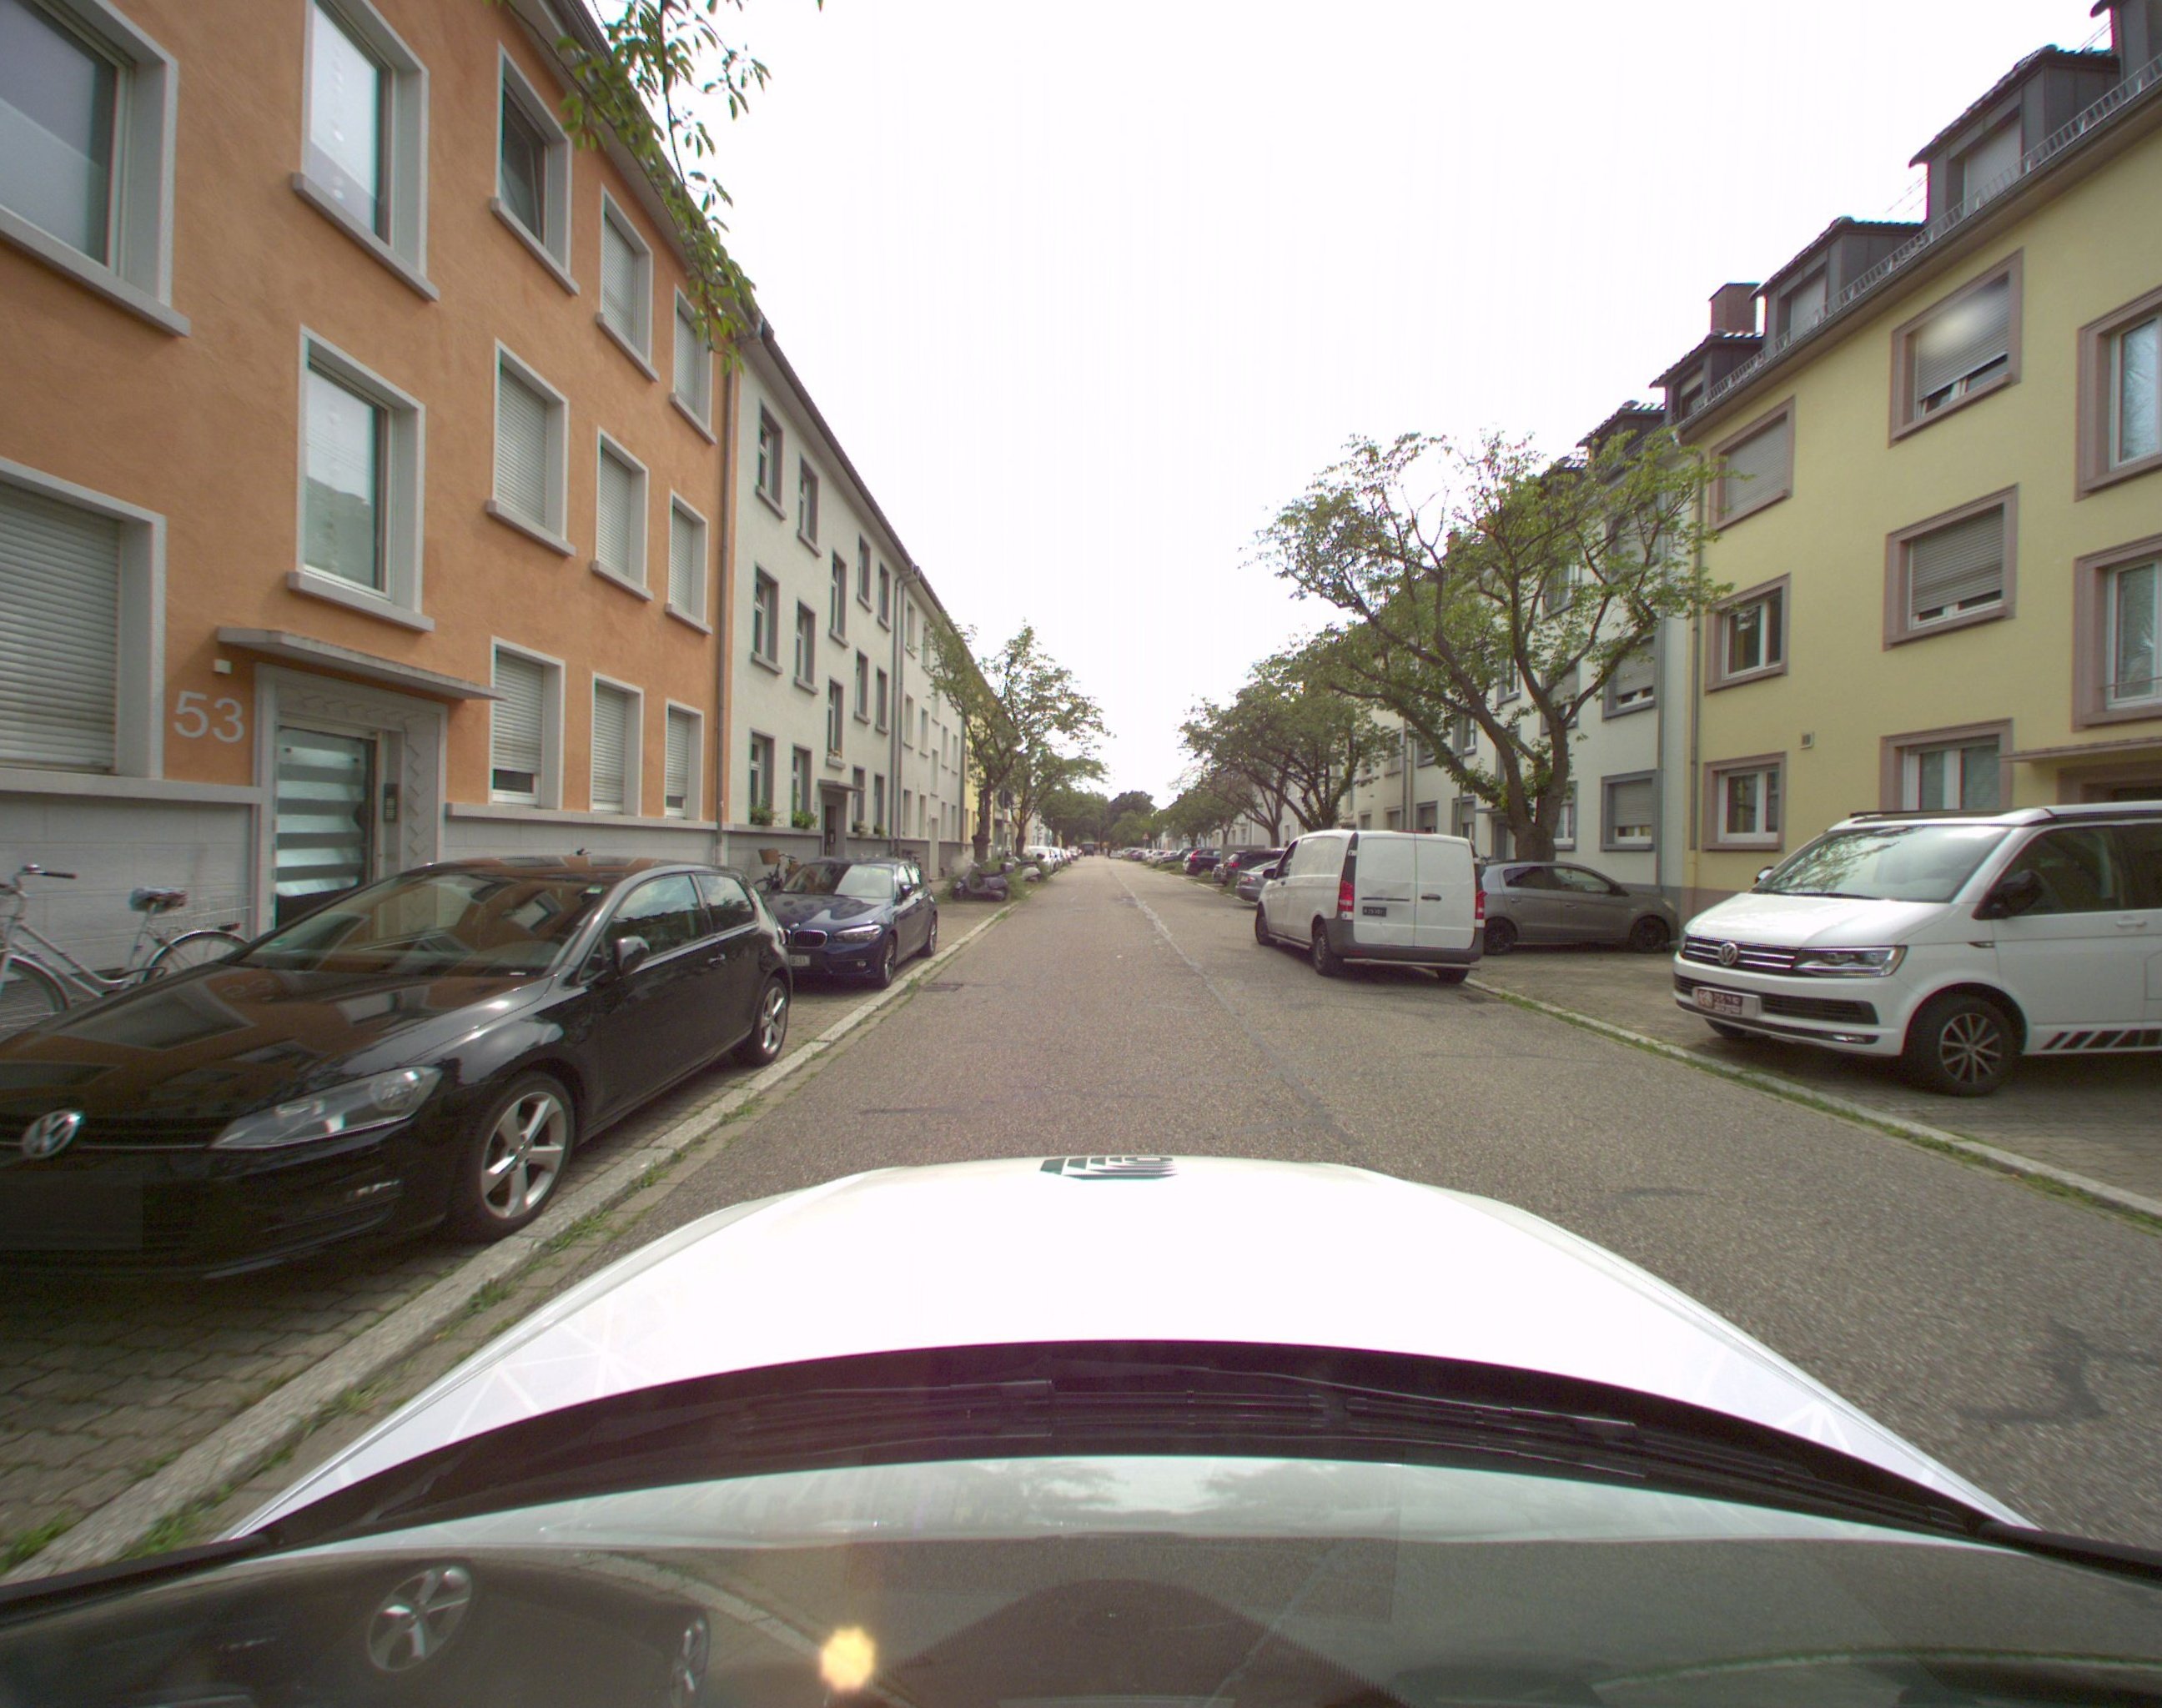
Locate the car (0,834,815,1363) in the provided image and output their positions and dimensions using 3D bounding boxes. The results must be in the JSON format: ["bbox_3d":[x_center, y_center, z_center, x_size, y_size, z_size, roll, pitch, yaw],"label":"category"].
[{"bbox_3d":[-3.025,0.709,4.390,1.831,1.484,4.091,2,0,-1],"label":"car"}]

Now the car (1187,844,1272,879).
[{"bbox_3d":[7.760,0.378,42.909,4.197,1.736,1.905,-1,0,2],"label":"car"}]

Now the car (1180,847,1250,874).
[{"bbox_3d":[8.260,0.392,50.437,3.977,1.530,1.766,-1,0,-3],"label":"car"}]

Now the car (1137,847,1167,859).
[{"bbox_3d":[9.115,-0.113,104.286,3.734,1.365,1.774,-1,0,1],"label":"car"}]

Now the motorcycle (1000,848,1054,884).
[{"bbox_3d":[-2.337,0.504,35.104,2.243,1.481,0.592,-1,0,-26],"label":"motorcycle"}]

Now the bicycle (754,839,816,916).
[{"bbox_3d":[-5.515,0.416,15.269,0.428,1.334,1.812,-1,0,2],"label":"bicycle"}]

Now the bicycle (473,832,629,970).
[{"bbox_3d":[-5.652,0.456,8.817,0.428,1.334,1.812,-1,0,2],"label":"bicycle"}]

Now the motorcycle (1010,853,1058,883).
[{"bbox_3d":[-1.944,0.579,34.007,1.915,1.192,0.592,-1,0,-26],"label":"motorcycle"}]

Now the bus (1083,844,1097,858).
[{"bbox_3d":[1.886,-0.660,175.968,2.994,2.761,8.922,-1,0,0],"label":"bus"}]

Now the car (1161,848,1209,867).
[{"bbox_3d":[8.420,0.316,66.236,3.617,1.454,1.771,-1,0,-4],"label":"car"}]

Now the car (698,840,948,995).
[{"bbox_3d":[-2.965,0.657,10.373,1.831,1.484,4.119,3,0,-1],"label":"car"}]

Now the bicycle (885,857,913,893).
[{"bbox_3d":[-5.339,0.597,23.964,0.418,1.006,1.435,-1,0,2],"label":"bicycle"}]

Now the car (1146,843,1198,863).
[{"bbox_3d":[8.305,-0.070,74.589,4.597,1.664,1.893,-1,0,1],"label":"car"}]

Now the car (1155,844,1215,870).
[{"bbox_3d":[8.033,0.248,63.232,4.506,1.858,1.794,-1,0,3],"label":"car"}]

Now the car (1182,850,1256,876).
[{"bbox_3d":[8.090,0.497,47.973,3.977,1.410,1.766,-1,0,-3],"label":"car"}]

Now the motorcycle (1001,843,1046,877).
[{"bbox_3d":[-2.927,0.300,41.440,0.944,1.676,2.444,1,0,-43],"label":"motorcycle"}]

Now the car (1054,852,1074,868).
[{"bbox_3d":[-1.654,0.552,80.628,1.870,1.486,4.513,-1,0,1],"label":"car"}]

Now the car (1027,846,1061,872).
[{"bbox_3d":[-2.281,0.329,51.714,1.784,1.492,4.813,1,-1,1],"label":"car"}]

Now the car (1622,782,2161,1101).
[{"bbox_3d":[7.535,0.528,6.460,5.218,2.023,2.071,-1,0,-4],"label":"car"}]

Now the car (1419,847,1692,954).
[{"bbox_3d":[7.700,0.721,13.473,3.467,1.574,1.814,-1,0,-1],"label":"car"}]

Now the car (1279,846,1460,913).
[{"bbox_3d":[7.155,0.620,20.471,3.974,1.536,1.638,-1,0,0],"label":"car"}]

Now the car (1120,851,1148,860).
[{"bbox_3d":[9.393,0.215,144.426,4.961,1.518,1.768,-1,0,-2],"label":"car"}]

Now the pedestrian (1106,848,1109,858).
[{"bbox_3d":[4.388,-0.184,135.500,0.520,1.704,0.445,-1,0,4],"label":"pedestrian"}]

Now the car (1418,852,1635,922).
[{"bbox_3d":[9.861,0.699,18.233,3.974,1.420,1.638,-1,0,0],"label":"car"}]

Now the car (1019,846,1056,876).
[{"bbox_3d":[-2.382,0.374,45.500,1.751,1.556,4.256,0,0,1],"label":"car"}]

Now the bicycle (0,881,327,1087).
[{"bbox_3d":[-5.751,0.703,5.063,0.365,1.006,1.868,-1,0,1],"label":"bicycle"}]

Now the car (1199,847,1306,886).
[{"bbox_3d":[7.360,0.527,35.299,4.203,1.598,1.902,-1,0,-2],"label":"car"}]

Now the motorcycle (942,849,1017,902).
[{"bbox_3d":[-2.845,0.588,22.755,2.012,1.407,0.789,-1,0,-11],"label":"motorcycle"}]

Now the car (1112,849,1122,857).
[{"bbox_3d":[5.973,-0.186,136.158,1.681,1.354,3.828,-1,0,2],"label":"car"}]

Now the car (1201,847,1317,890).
[{"bbox_3d":[7.108,0.580,32.831,4.203,1.598,1.902,-1,0,-2],"label":"car"}]

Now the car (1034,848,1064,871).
[{"bbox_3d":[-2.322,0.366,59.817,1.911,1.581,4.383,-1,0,1],"label":"car"}]

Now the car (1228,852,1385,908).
[{"bbox_3d":[6.296,0.703,23.049,3.974,1.455,1.766,-1,0,0],"label":"car"}]

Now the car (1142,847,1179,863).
[{"bbox_3d":[8.626,0.096,88.630,3.909,1.633,1.868,-1,0,1],"label":"car"}]

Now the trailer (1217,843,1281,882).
[{"bbox_3d":[8.369,0.417,40.614,2.947,1.831,1.402,-1,0,4],"label":"trailer"}]

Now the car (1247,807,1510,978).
[{"bbox_3d":[3.962,0.458,11.864,1.988,1.915,4.701,2,0,-1],"label":"car"}]

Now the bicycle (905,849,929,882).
[{"bbox_3d":[-5.316,0.364,26.491,0.418,1.006,1.435,-1,0,2],"label":"bicycle"}]
